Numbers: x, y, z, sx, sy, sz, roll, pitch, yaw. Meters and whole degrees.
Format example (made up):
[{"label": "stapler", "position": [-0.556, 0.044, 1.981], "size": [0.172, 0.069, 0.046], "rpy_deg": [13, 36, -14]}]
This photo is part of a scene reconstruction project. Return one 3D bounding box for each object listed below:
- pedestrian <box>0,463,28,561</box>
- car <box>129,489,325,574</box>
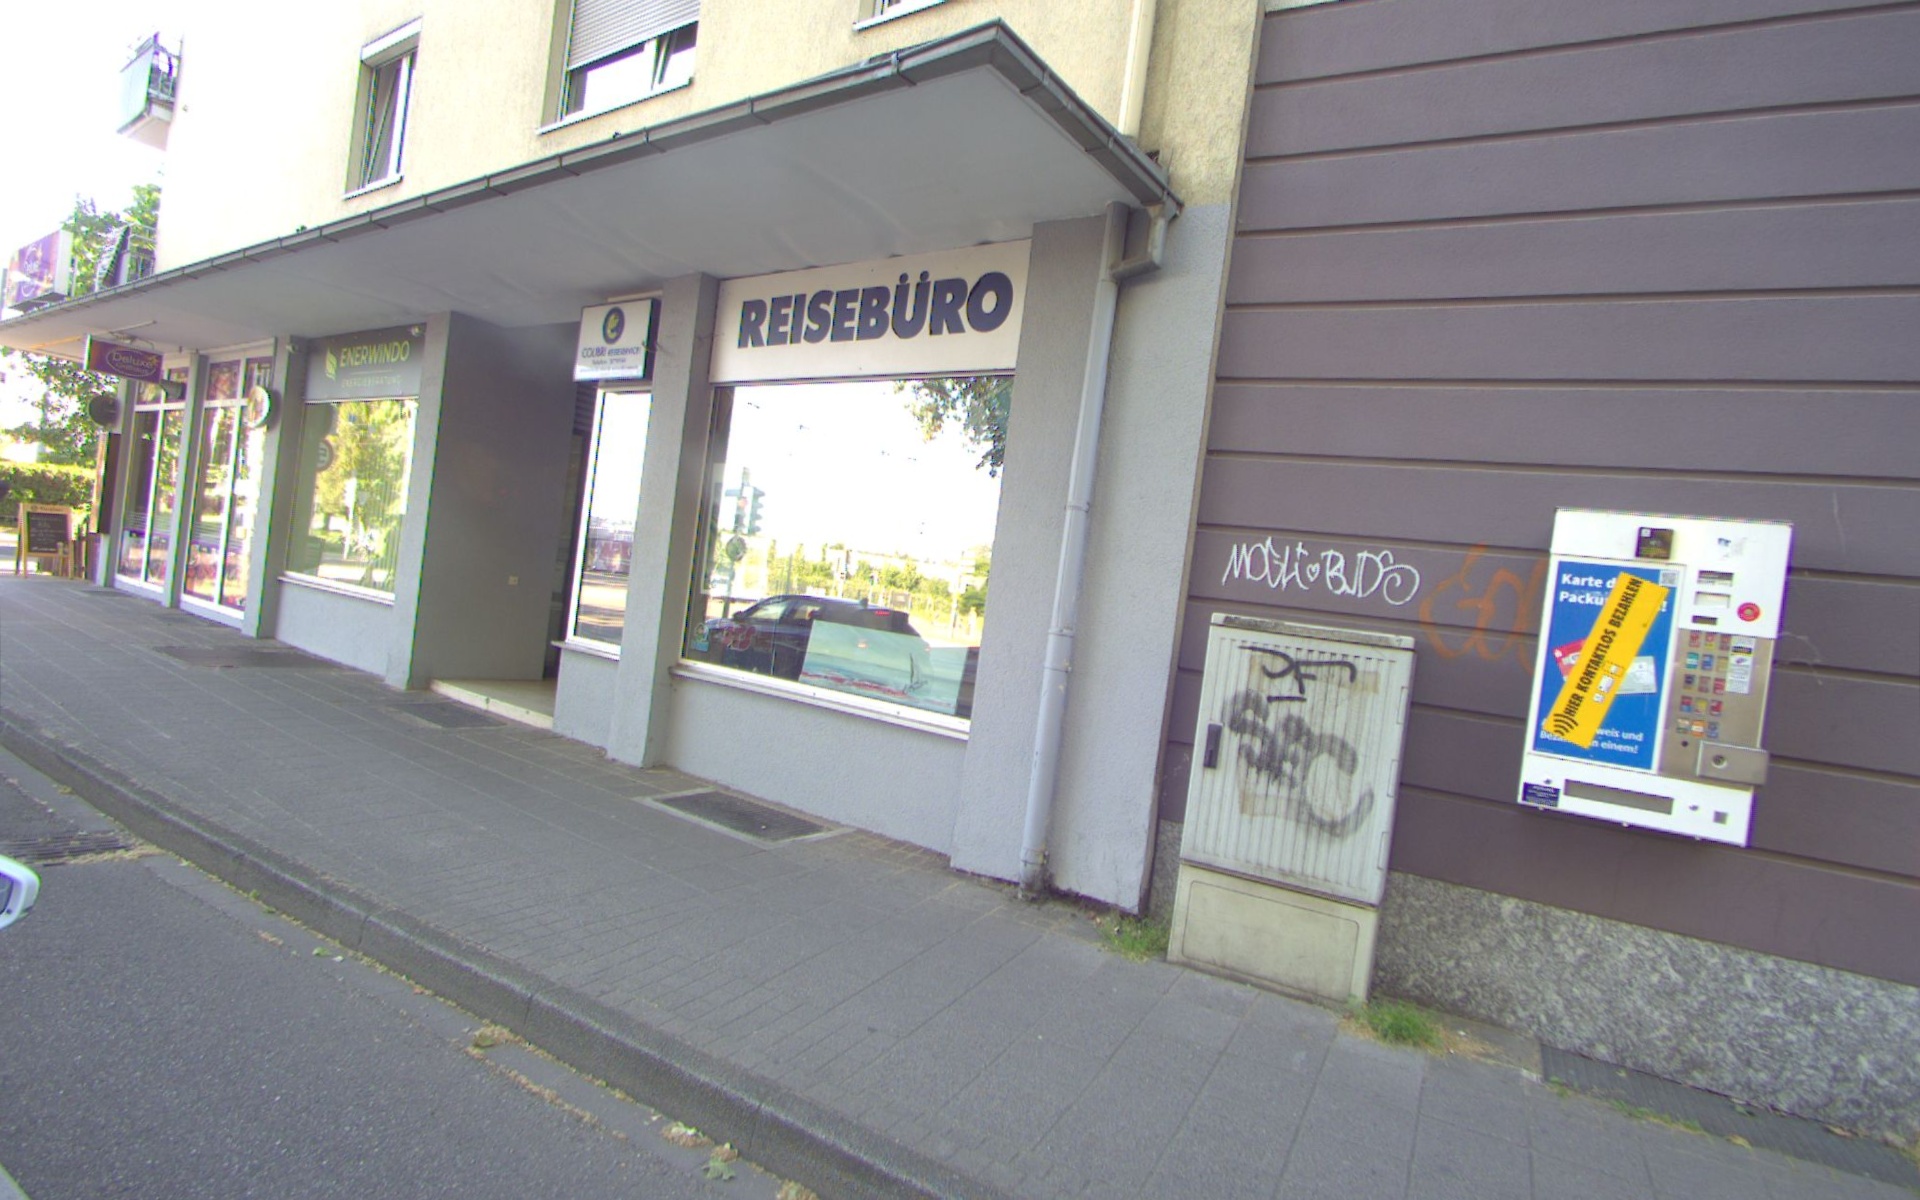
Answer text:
[{"label": "pedestrian", "position": [-18.912, -1.743, 19.617], "size": [0.695, 1.869, 0.698], "rpy_deg": [7, 1, -19]}, {"label": "car", "position": [-21.075, -1.910, 29.072], "size": [1.781, 1.835, 4.172], "rpy_deg": [4, -3, 40]}]
